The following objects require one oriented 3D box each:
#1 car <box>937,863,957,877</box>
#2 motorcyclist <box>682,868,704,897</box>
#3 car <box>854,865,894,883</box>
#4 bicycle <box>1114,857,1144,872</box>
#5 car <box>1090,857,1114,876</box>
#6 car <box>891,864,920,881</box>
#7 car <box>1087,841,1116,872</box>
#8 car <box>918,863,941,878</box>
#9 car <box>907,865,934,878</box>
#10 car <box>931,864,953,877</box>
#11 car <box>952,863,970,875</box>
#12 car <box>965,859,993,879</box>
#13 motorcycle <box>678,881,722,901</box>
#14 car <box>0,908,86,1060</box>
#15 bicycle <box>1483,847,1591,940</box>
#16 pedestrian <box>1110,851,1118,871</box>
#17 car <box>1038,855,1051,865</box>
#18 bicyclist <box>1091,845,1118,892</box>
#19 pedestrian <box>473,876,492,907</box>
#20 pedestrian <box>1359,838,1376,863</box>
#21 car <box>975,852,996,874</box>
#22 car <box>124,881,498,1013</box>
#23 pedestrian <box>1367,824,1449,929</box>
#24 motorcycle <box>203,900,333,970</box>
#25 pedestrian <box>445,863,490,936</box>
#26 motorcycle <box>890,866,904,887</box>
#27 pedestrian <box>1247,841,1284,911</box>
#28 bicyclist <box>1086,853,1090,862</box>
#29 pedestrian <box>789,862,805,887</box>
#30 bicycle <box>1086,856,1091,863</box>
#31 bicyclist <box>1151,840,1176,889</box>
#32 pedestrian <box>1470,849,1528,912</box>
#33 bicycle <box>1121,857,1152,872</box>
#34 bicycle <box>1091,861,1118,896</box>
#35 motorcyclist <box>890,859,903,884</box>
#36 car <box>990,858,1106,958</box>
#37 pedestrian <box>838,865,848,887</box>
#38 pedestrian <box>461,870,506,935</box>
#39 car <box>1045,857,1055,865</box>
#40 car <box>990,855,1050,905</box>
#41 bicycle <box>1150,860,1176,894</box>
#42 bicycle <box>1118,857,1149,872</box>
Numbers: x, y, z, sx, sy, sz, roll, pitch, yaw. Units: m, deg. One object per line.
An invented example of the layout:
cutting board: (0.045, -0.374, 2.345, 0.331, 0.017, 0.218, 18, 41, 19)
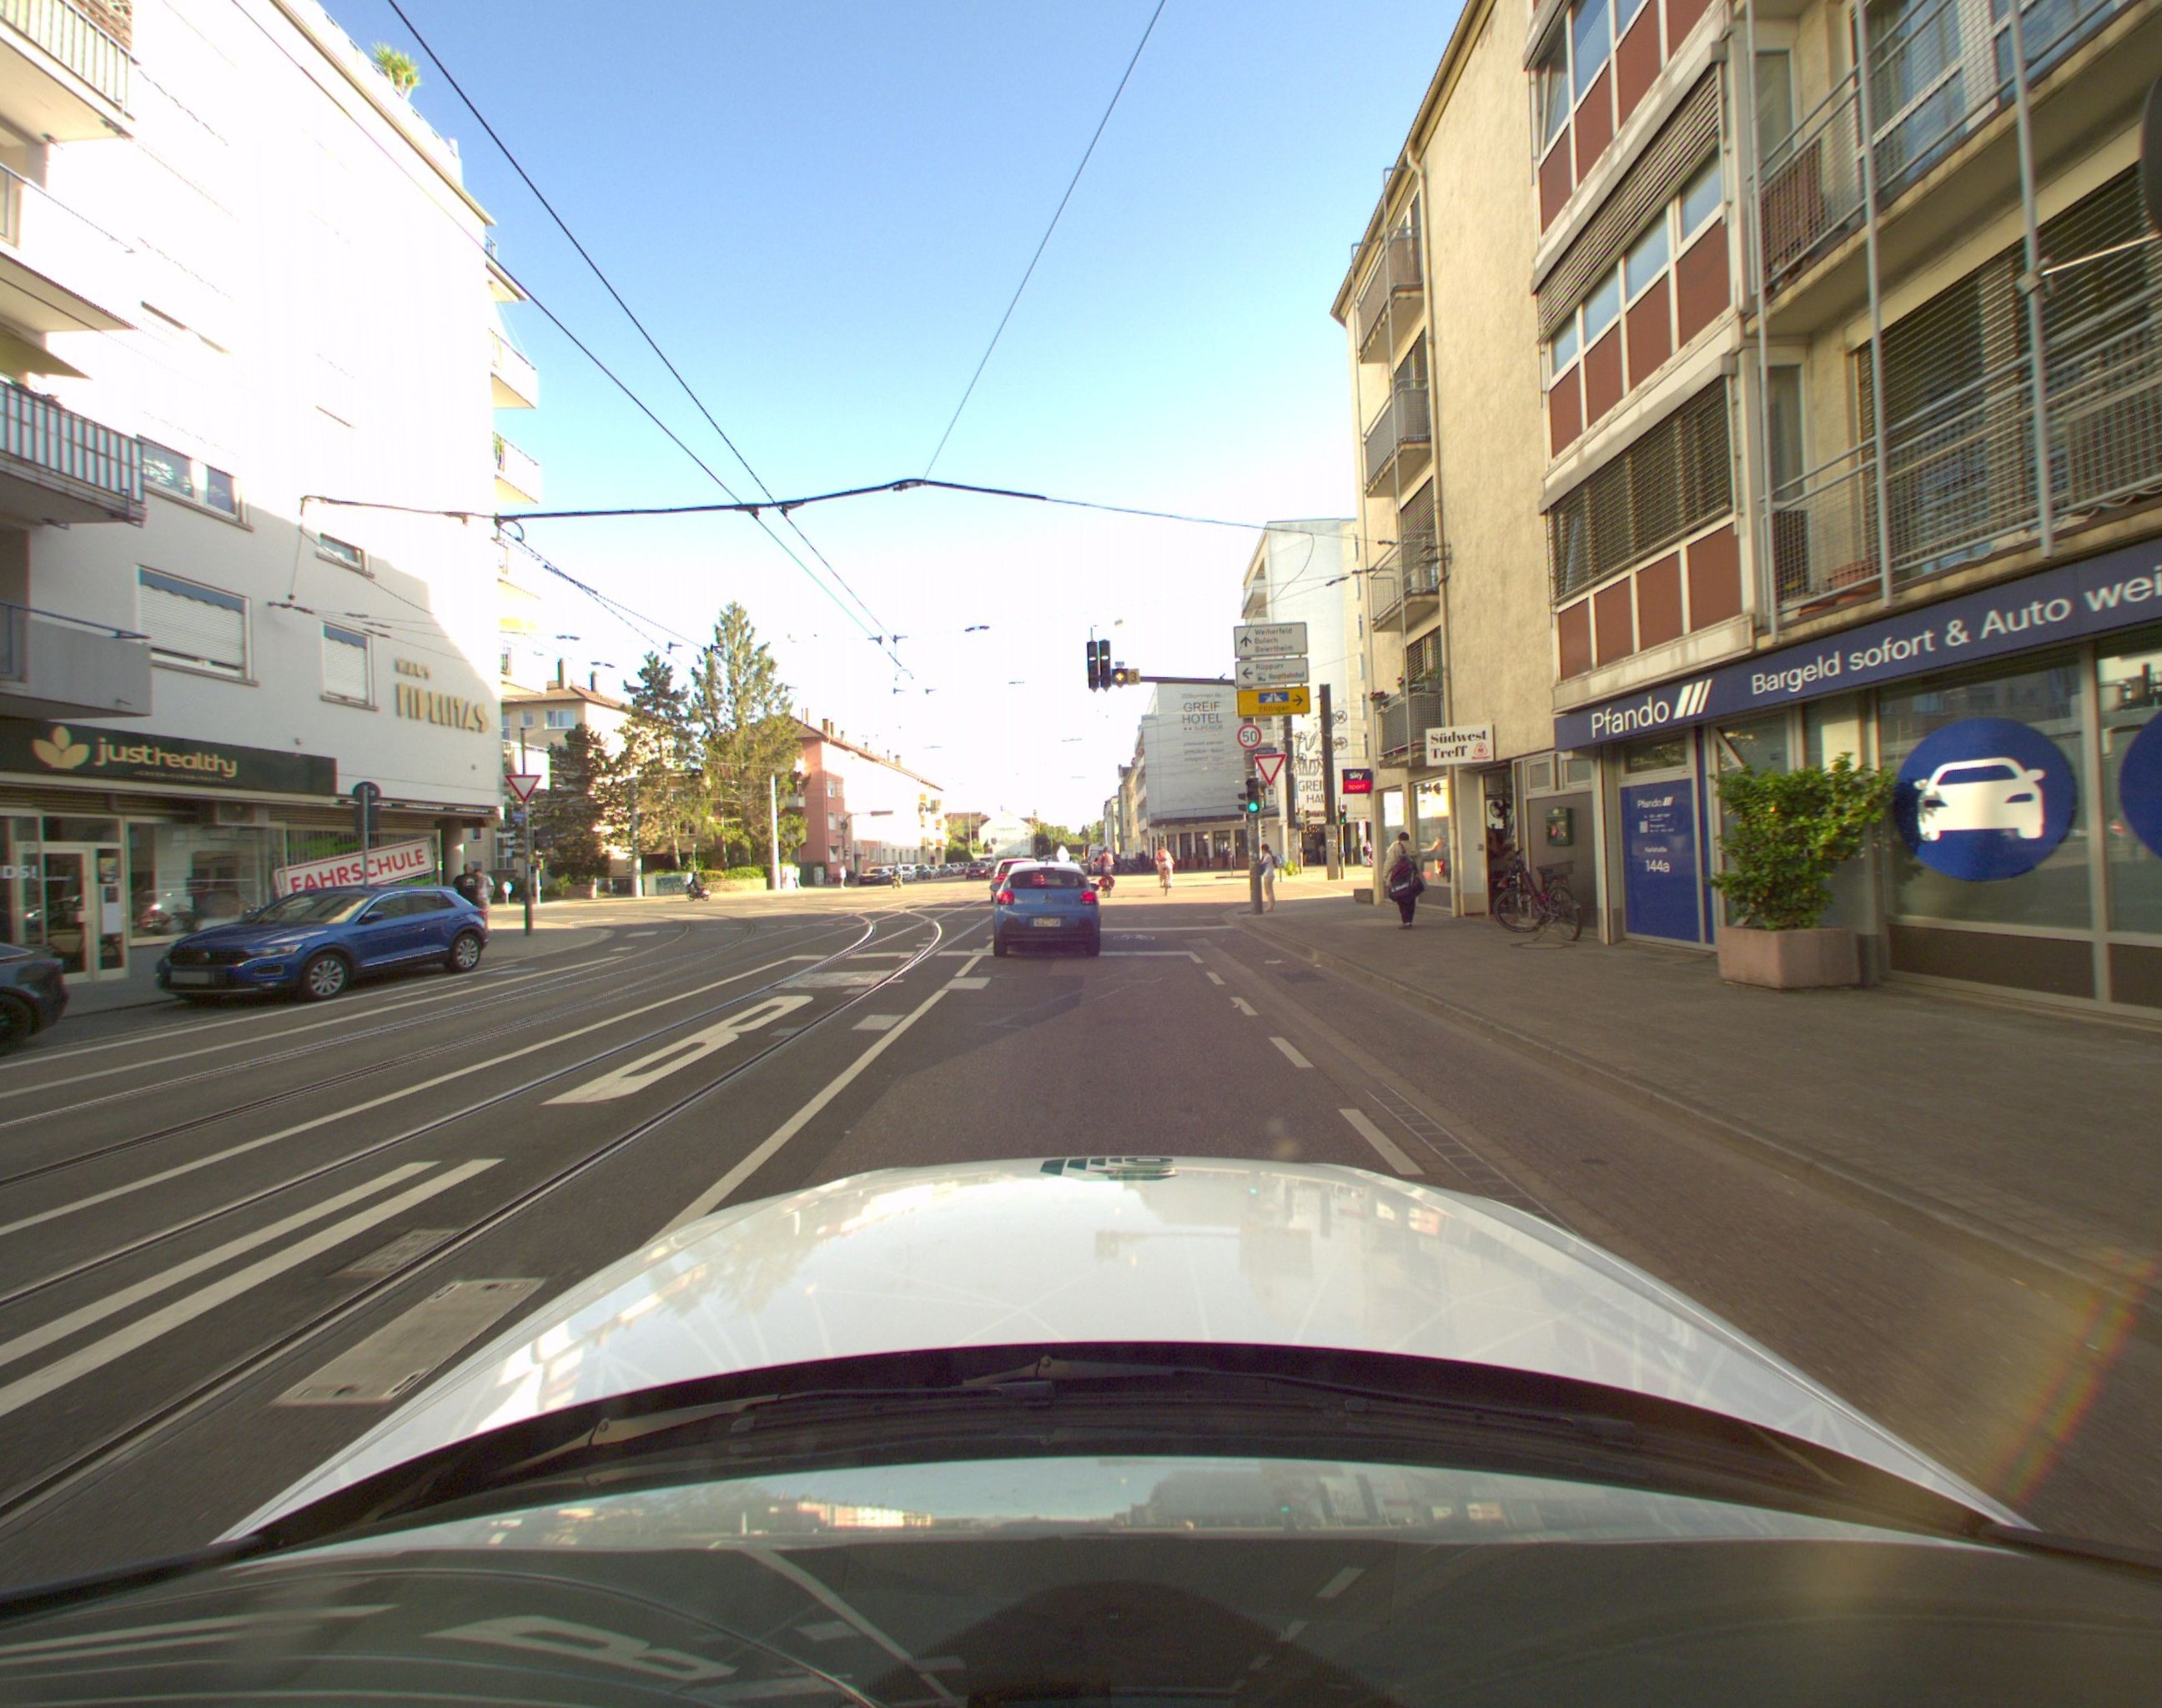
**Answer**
car: (-16.329, 1.952, 99.664, 1.864, 1.576, 3.998, 0, -1, -1)
motorcyclist: (-20.777, 1.520, 43.653, 0.723, 1.488, 0.859, 0, -1, 6)
car: (-16.755, 1.659, 66.231, 2.147, 1.432, 4.438, 0, -2, -1)
bicycle: (3.798, 0.801, 64.049, 2.245, 1.001, 0.856, -4, -1, -1)
car: (1.611, 0.982, 63.666, 1.653, 1.431, 3.885, 0, -1, -2)
car: (-16.395, 1.725, 76.271, 1.735, 1.526, 4.230, 0, -1, 1)
car: (1.700, 0.225, 68.749, 2.258, 2.482, 5.006, -1, -1, -1)
car: (-16.543, 1.743, 89.209, 1.864, 1.576, 3.998, 0, -1, -1)
car: (-16.341, 1.799, 82.982, 1.941, 1.239, 4.282, 0, -1, 0)
car: (-16.250, 1.913, 95.268, 1.864, 1.576, 3.998, 0, -1, -1)
car: (-16.130, 2.039, 109.762, 1.864, 1.576, 3.998, 0, -1, -1)
car: (-8.290, 1.225, 66.679, 1.773, 1.486, 3.827, -3, -1, -1)
motorcycle: (-20.397, 1.972, 43.610, 1.926, 1.047, 0.859, 0, -1, 6)
car: (-11.708, 1.307, 6.591, 1.762, 1.475, 4.446, 0, -1, 1)
bicycle: (6.218, 0.517, 11.214, 0.494, 1.161, 1.777, -2, -1, 1)
pedestrian: (2.626, 0.553, 65.498, 0.610, 1.654, 0.671, 0, -1, 3)
car: (-7.462, 1.279, 166.784, 2.210, 1.932, 4.950, 0, -1, 1)
bicyclist: (0.866, 0.534, 29.516, 0.937, 1.673, 1.080, 0, -1, 3)
pedestrian: (-36.579, 2.281, 49.787, 0.698, 1.886, 0.777, 0, -1, -13)
pedestrian: (19.979, -0.221, 56.823, 0.904, 1.746, 0.737, 0, -1, 0)
car: (-13.650, 1.317, 116.309, 2.409, 3.142, 3.489, 0, -1, 1)
car: (-11.323, 1.255, 12.503, 1.764, 1.503, 4.236, 0, 1, -1)
pedestrian: (5.311, 0.350, 13.281, 0.883, 1.592, 0.810, -5, 0, -4)
motorcycle: (-15.215, 1.483, 15.309, 0.605, 1.134, 1.797, 0, -1, 1)
pedestrian: (-16.410, 1.208, 21.791, 0.568, 1.900, 0.742, -2, -3, 18)
motorcycle: (-11.353, 1.414, 50.260, 0.713, 1.220, 1.954, -2, -2, -17)
pedestrian: (4.499, 0.521, 19.840, 0.534, 1.624, 0.737, -7, -3, 25)
bicyclist: (1.635, 0.773, 178.947, 0.787, 2.025, 0.987, 0, -1, 5)
pedestrian: (-20.033, 1.452, 57.433, 0.696, 1.722, 0.789, -1, -1, 28)
bicycle: (1.638, 1.243, 178.939, 0.787, 1.670, 2.233, 0, -1, 5)
bicyclist: (2.894, 0.354, 28.612, 0.806, 1.692, 0.937, 0, -1, 8)
pedestrian: (7.560, 0.470, 14.750, 0.627, 1.087, 0.672, -3, 0, -33)
bicycle: (4.205, 0.772, 61.582, 2.245, 1.001, 0.856, -4, -1, -1)
bicycle: (0.878, 0.853, 29.532, 0.936, 1.223, 2.096, 0, -1, 3)
motorcyclist: (-11.364, 1.082, 50.253, 0.695, 1.497, 0.680, -2, -2, -17)
car: (-0.680, 0.833, 14.116, 1.734, 1.452, 3.654, -1, 0, -6)
pedestrian: (-16.989, 1.546, 58.209, 0.514, 1.568, 0.573, 0, -1, 1)
pedestrian: (-17.145, 1.388, 23.381, 0.731, 1.792, 0.663, -2, 0, 7)
car: (-7.014, 1.502, 184.275, 2.067, 1.762, 5.037, 0, -1, 1)
car: (-2.098, 0.800, 27.128, 1.783, 1.521, 3.752, 0, 0, -8)
bicycle: (2.922, 0.797, 28.784, 0.806, 1.181, 2.069, 0, -1, 9)
bicycle: (4.030, 0.776, 62.930, 2.245, 1.001, 0.856, -4, -1, -1)
